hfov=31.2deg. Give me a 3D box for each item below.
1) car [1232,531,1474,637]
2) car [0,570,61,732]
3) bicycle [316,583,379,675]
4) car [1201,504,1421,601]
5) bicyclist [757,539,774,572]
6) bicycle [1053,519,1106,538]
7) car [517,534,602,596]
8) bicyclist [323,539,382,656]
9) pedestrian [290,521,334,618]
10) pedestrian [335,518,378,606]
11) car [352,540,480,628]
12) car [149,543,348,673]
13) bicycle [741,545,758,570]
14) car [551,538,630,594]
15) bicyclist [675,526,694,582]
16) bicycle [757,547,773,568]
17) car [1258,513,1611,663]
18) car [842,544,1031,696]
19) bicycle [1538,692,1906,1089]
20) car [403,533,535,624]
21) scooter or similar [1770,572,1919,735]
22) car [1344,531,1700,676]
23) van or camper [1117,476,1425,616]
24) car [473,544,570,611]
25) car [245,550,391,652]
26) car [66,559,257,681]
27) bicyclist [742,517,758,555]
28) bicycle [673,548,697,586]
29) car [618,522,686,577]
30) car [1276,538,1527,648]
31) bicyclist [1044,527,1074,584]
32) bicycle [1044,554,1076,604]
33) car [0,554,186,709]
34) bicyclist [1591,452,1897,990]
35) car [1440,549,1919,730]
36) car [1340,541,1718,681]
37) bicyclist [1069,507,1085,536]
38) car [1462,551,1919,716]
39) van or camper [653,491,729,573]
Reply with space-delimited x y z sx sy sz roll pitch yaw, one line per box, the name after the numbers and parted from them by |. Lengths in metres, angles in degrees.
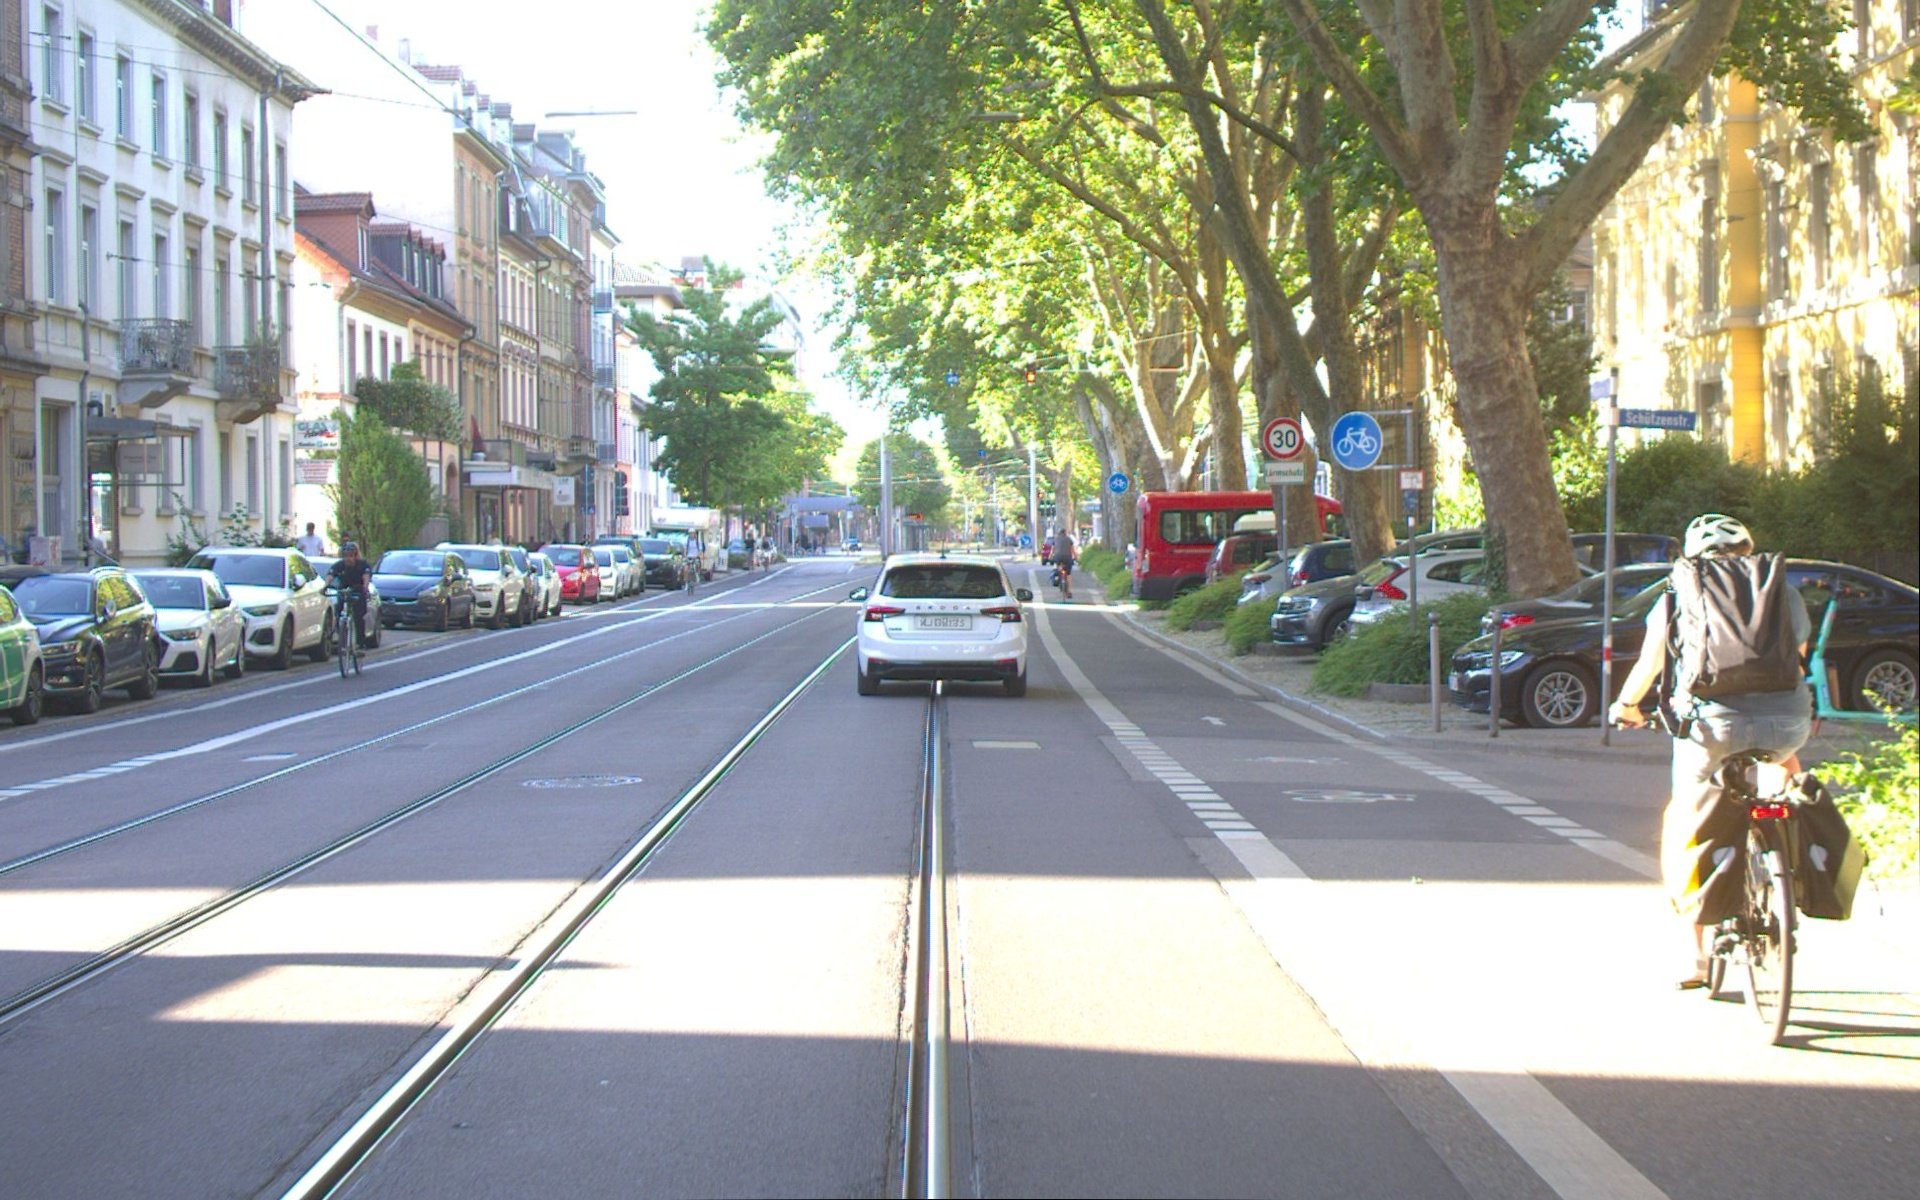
6.210 -0.268 54.544 3.595 1.512 1.694 -2 1 0 | car
-9.835 0.475 32.383 1.740 1.486 4.045 1 1 -1 | car
-7.912 0.362 44.484 0.421 1.146 2.232 -2 1 -1 | bicycle
6.531 -0.879 64.275 3.818 1.643 1.767 -2 0 -2 | car
-8.878 -2.049 157.140 0.638 1.498 1.070 -2 1 1 | bicyclist
6.514 -3.921 187.497 2.772 0.996 0.592 1 1 15 | bicycle
-10.415 -0.931 89.516 1.569 1.557 3.448 -1 1 4 | car
-7.832 -0.041 44.364 0.582 1.477 0.807 -2 1 0 | bicyclist
-13.478 -0.636 71.476 0.759 2.007 0.830 -1 1 -2 | pedestrian
-12.522 -0.795 71.366 0.759 1.815 0.830 -1 1 -3 | pedestrian
-9.954 -0.315 63.140 1.554 1.510 3.924 -1 1 2 | car
-9.906 0.063 48.193 1.786 1.717 4.719 1 1 0 | car
-9.167 -1.862 149.882 0.484 1.044 2.039 -2 1 2 | bicycle
-10.204 -0.958 95.114 1.827 1.497 4.689 1 1 -2 | car
-8.040 -1.347 100.322 0.473 1.630 0.800 -1 1 1 | bicyclist
-8.903 -1.938 156.997 0.499 0.940 1.921 -2 1 2 | bicycle
6.206 -0.177 45.260 4.262 1.713 1.849 -3 1 -2 | car
-0.295 0.168 35.650 1.842 1.475 3.839 0 1 -2 | car
2.396 0.867 11.116 0.595 1.001 2.511 2 1 0 | bicycle
-9.750 -0.464 68.640 1.857 1.698 4.763 -1 1 1 | car
6.980 0.413 26.754 1.307 1.251 0.341 0 1 14 | scooter or similar
6.864 0.026 42.226 4.027 1.638 1.681 -2 1 -2 | car
6.179 -1.106 68.903 5.814 2.510 2.288 -3 2 -2 | van or camper
-10.116 -0.540 79.473 1.687 1.472 4.258 1 1 0 | car
-9.977 -0.013 53.642 1.662 1.515 4.065 1 1 -2 | car
-9.883 0.217 42.782 1.699 1.415 4.001 1 1 -4 | car
-9.180 -2.788 150.004 0.535 1.629 0.896 -3 1 2 | bicyclist
-8.025 -0.982 100.354 0.481 1.082 1.846 -1 1 1 | bicycle
-10.389 -1.725 116.233 1.964 1.775 4.938 2 1 -2 | car
6.670 -0.104 52.136 3.595 1.594 1.541 -1 0 1 | car
2.345 -1.060 81.466 0.679 1.334 0.525 1 1 0 | bicyclist
2.359 -0.507 81.319 0.680 1.151 2.964 1 1 0 | bicycle
-9.846 0.291 37.646 1.740 1.557 4.787 1 1 -1 | car
2.394 0.347 10.591 0.614 1.547 0.935 4 1 0 | bicyclist
6.426 0.319 30.260 4.096 1.486 1.831 -1 1 -2 | car
6.522 0.112 39.687 4.027 1.475 1.681 -2 1 -1 | car
6.377 -4.273 187.565 0.737 1.583 0.586 -1 1 13 | bicyclist
6.934 0.304 32.930 4.097 1.486 1.681 -1 1 5 | car
-10.587 -2.677 135.562 2.217 3.129 7.113 0 1 2 | van or camper
